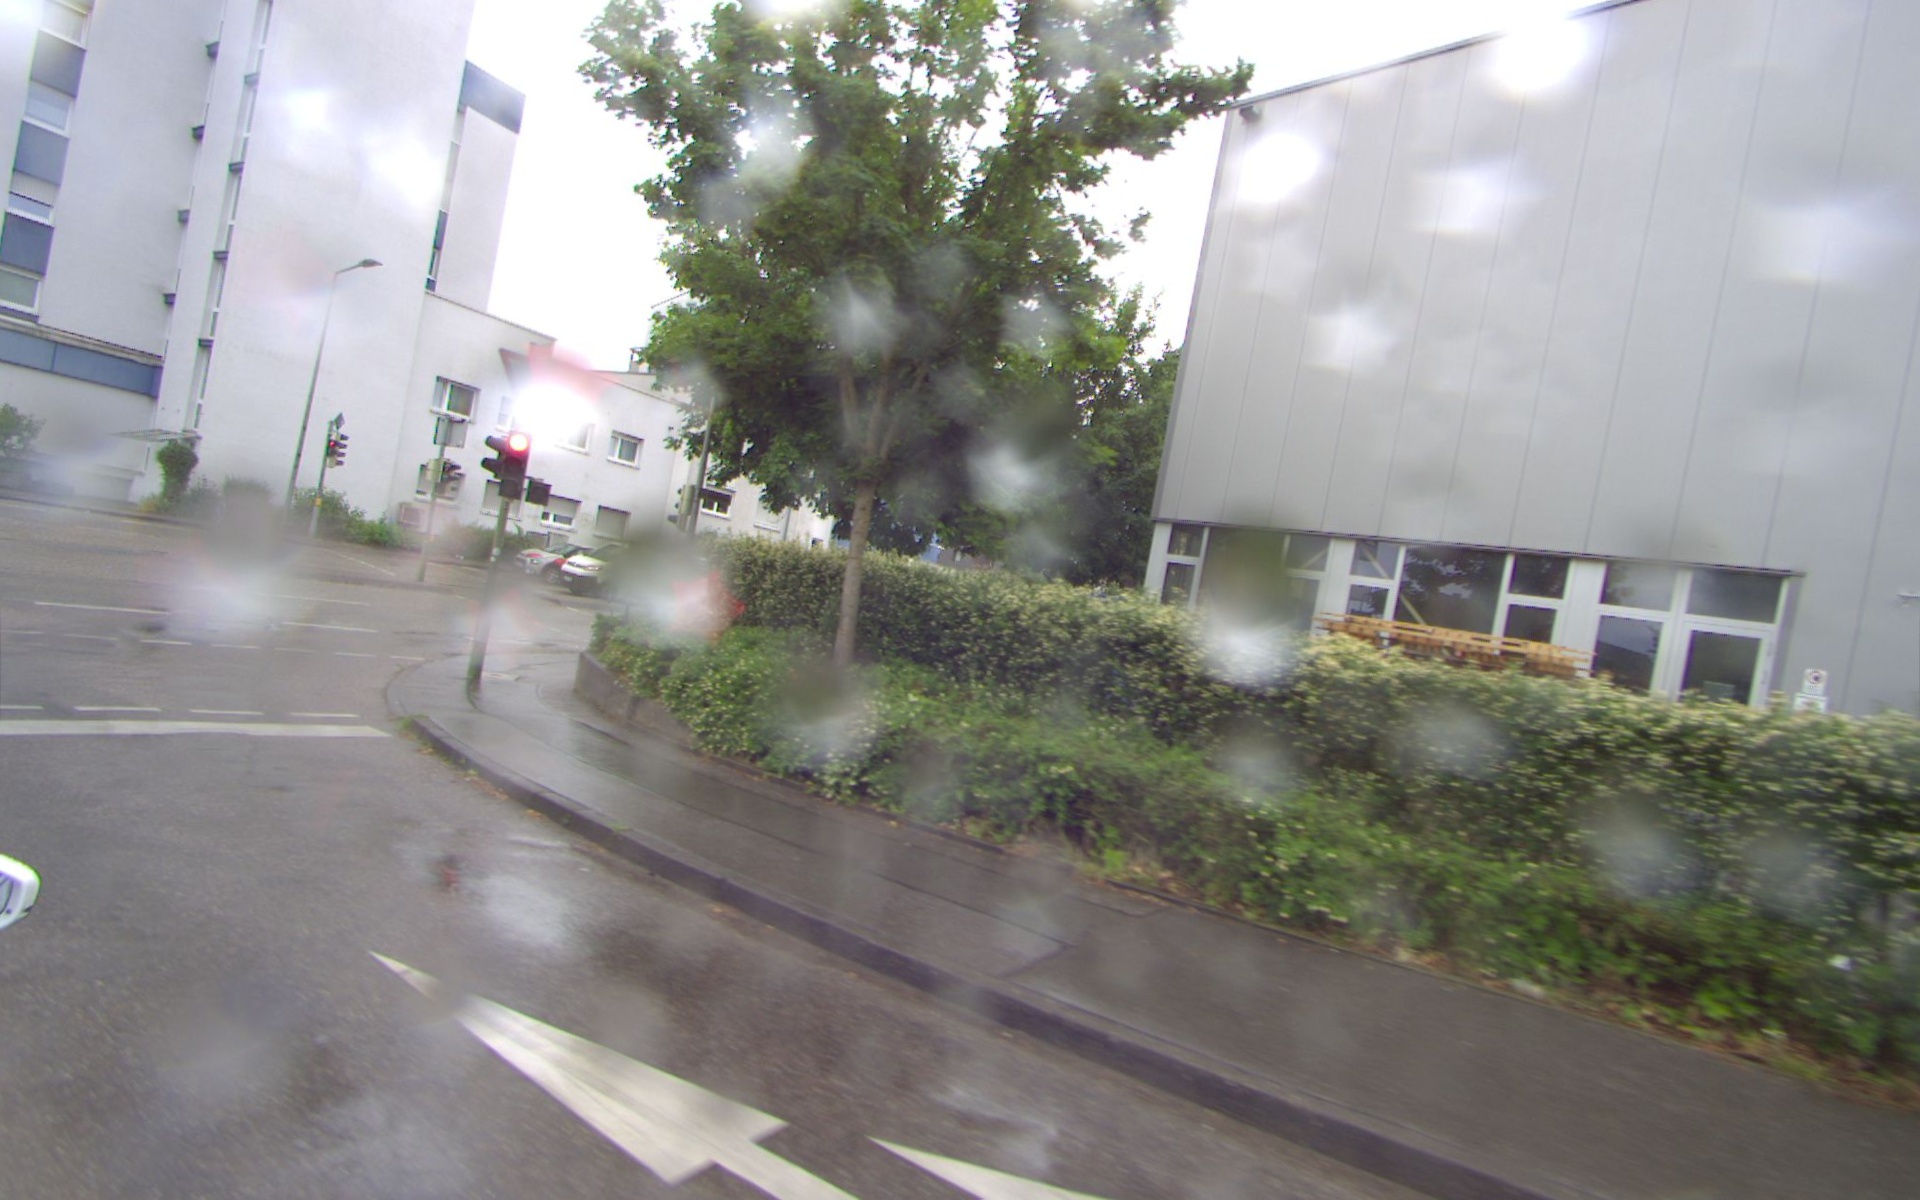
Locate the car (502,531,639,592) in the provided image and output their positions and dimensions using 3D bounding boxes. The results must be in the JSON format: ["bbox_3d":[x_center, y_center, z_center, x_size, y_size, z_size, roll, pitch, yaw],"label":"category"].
[{"bbox_3d":[-13.465,-1.304,34.973,1.803,1.485,3.988,9,0,36],"label":"car"}]

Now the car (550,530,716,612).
[{"bbox_3d":[-10.617,-0.902,32.988,1.800,1.939,4.815,7,-2,39],"label":"car"}]
